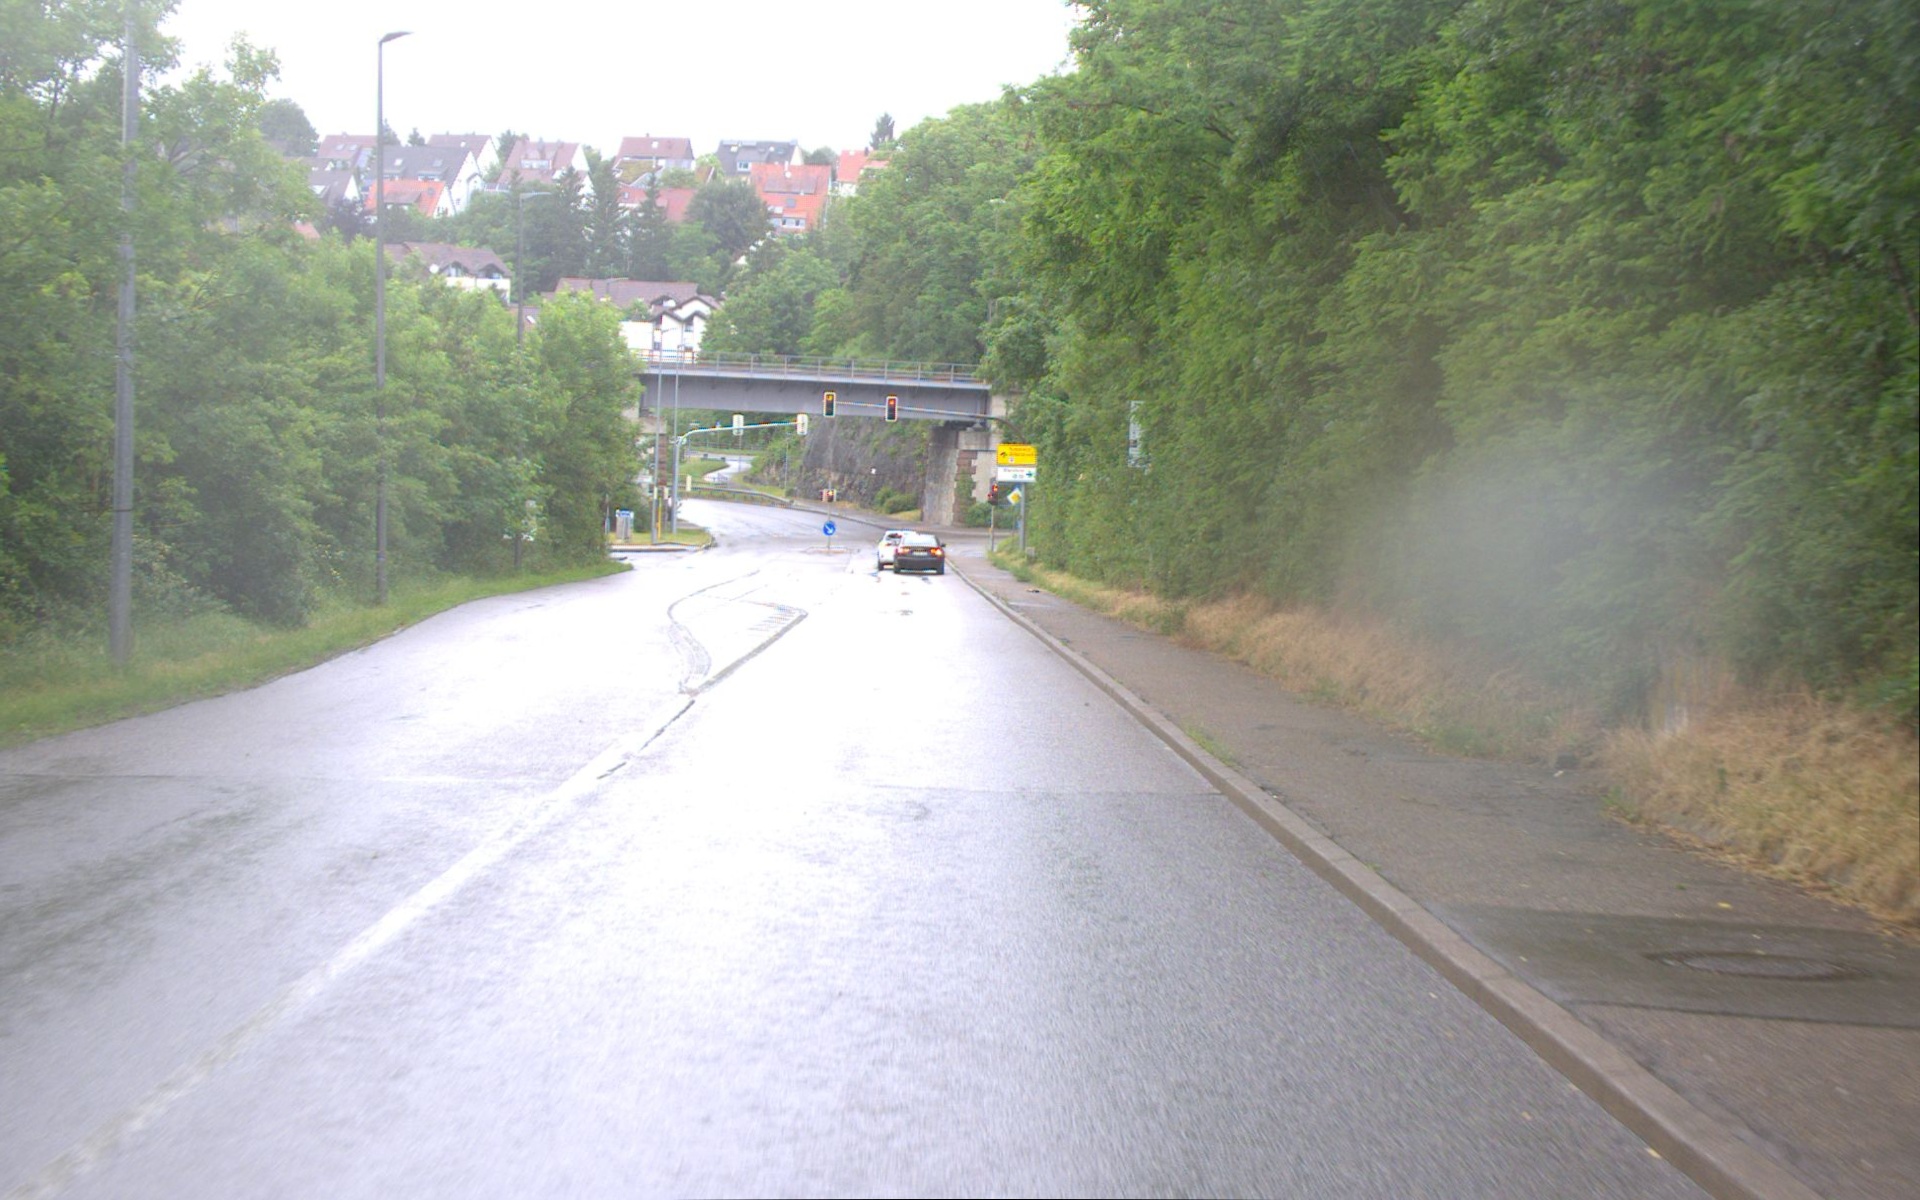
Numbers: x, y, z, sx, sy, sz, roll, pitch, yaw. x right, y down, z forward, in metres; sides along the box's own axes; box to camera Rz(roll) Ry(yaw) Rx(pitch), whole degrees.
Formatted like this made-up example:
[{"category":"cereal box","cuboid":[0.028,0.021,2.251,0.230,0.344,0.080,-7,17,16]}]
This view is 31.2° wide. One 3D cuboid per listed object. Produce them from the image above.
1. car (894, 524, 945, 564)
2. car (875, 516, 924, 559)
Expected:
[{"category":"car","cuboid":[-1.438,-1.995,122.023,1.768,1.375,4.000,0,1,0]},{"category":"car","cuboid":[-2.242,-2.343,128.566,1.768,1.557,4.000,0,1,0]}]
